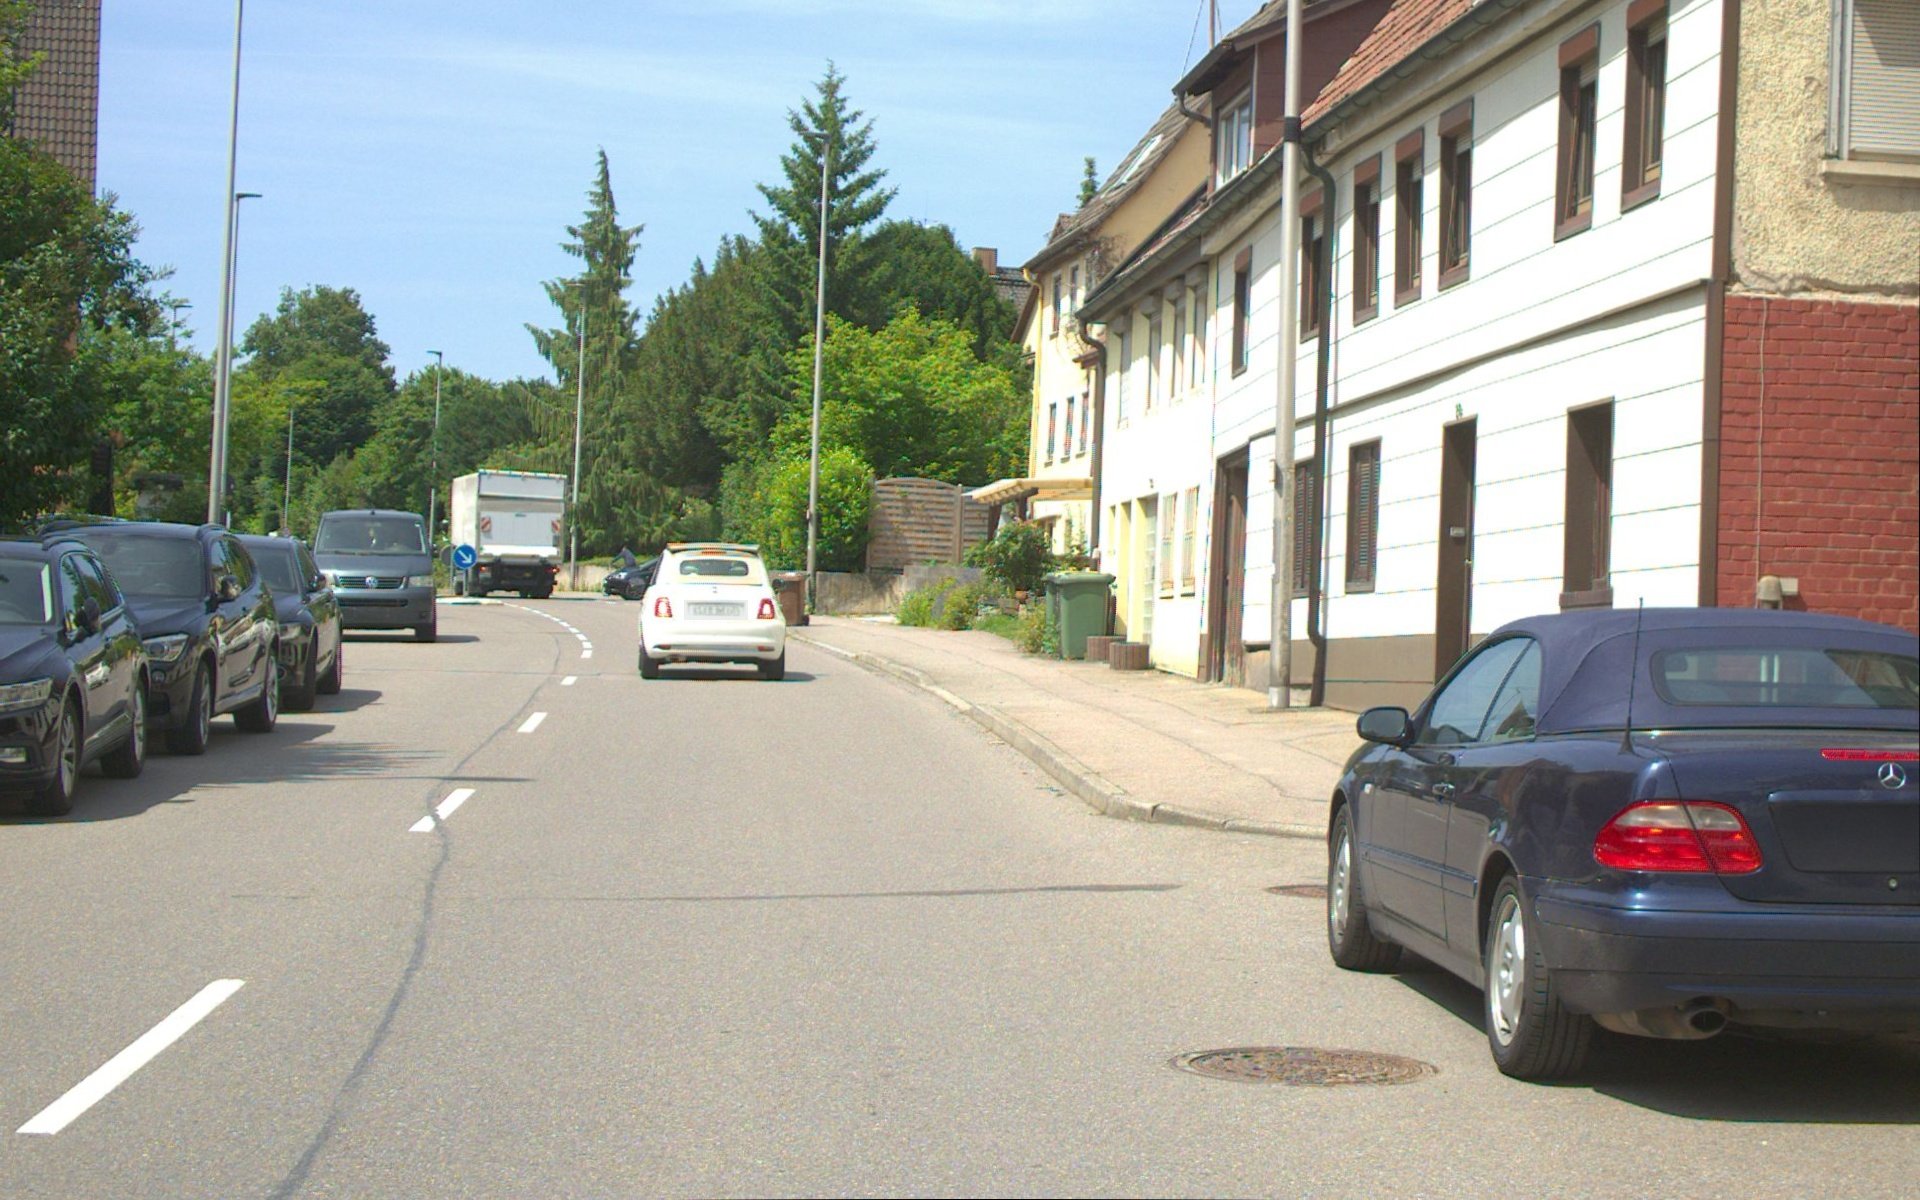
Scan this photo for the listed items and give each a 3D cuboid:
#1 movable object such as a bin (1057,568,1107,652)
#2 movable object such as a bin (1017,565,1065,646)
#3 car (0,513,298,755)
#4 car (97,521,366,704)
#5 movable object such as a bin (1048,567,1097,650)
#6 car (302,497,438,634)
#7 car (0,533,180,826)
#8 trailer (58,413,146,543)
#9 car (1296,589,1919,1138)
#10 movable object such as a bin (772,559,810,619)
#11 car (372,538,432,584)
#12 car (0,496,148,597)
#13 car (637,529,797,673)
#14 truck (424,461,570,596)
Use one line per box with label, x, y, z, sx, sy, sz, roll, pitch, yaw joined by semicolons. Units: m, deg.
movable object such as a bin;1.519;0.124;42.814;0.546;1.030;0.551;-1;1;-6
movable object such as a bin;1.049;0.071;44.685;0.546;1.030;0.551;-1;1;-6
car;-5.964;0.166;24.472;1.755;1.516;4.301;2;1;-2
car;-6.434;0.052;30.814;1.818;1.468;4.777;2;1;-6
movable object such as a bin;1.414;0.108;43.392;0.546;1.030;0.551;-1;1;-6
car;-8.880;-0.522;51.923;1.890;1.931;4.987;1;1;-9
car;-5.680;0.345;19.476;1.788;1.458;4.713;1;1;-5
trailer;-20.053;-2.795;80.544;1.711;2.839;6.176;3;0;-13
car;2.302;0.701;11.101;1.665;1.348;4.188;2;1;-4
movable object such as a bin;-2.964;-0.189;60.409;0.494;1.030;0.548;-1;1;15
car;-22.067;-1.529;135.906;1.534;1.664;4.001;4;-1;-19
car;-15.647;-0.992;56.730;4.227;1.400;1.822;6;0;-14
car;-2.856;-0.011;39.772;1.724;1.555;4.001;1;1;-5
truck;-13.853;-2.084;102.362;3.067;3.761;7.870;2;0;-16
